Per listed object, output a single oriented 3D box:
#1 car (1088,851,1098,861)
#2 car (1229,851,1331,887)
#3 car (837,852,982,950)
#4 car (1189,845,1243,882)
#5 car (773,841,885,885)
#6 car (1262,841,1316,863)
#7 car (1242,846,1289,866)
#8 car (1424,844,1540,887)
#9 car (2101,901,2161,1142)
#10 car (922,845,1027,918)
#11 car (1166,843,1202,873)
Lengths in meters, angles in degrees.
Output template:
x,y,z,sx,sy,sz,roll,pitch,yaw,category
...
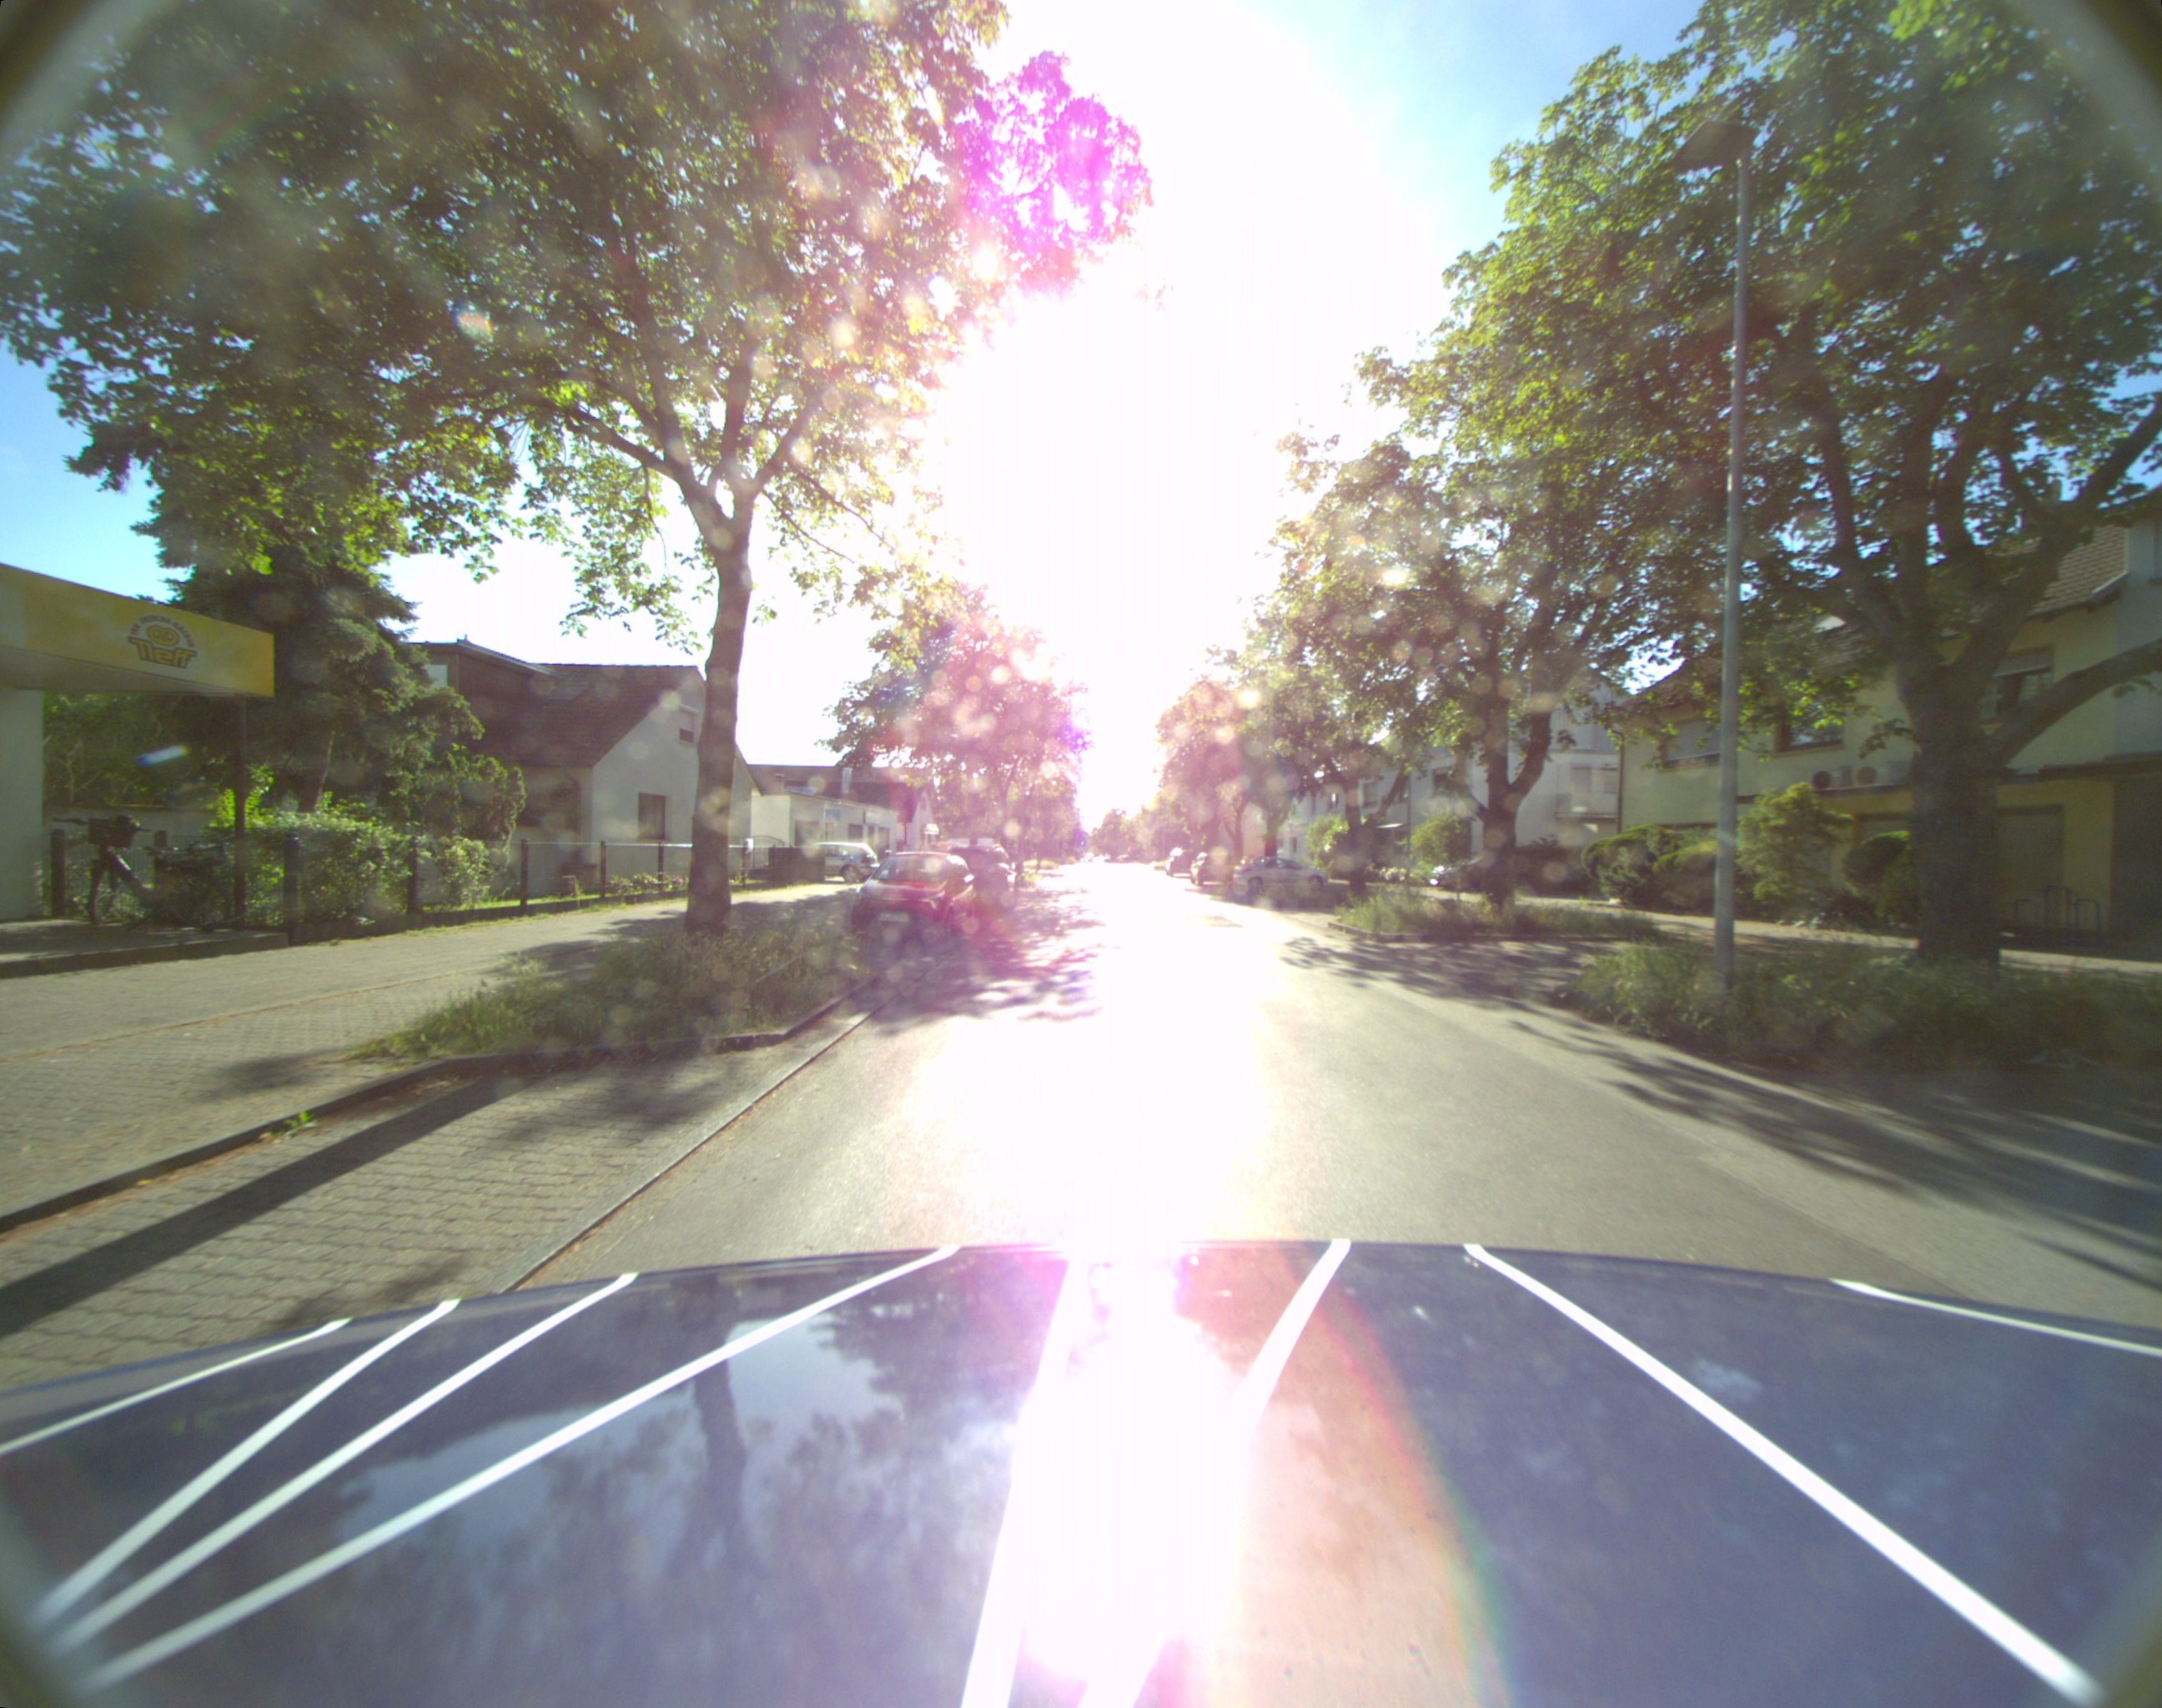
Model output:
x,y,z,sx,sy,sz,roll,pitch,yaw,category
1.994,0.307,125.458,1.539,1.583,3.458,-2,1,3,car
8.073,0.574,31.053,3.695,1.315,1.624,-1,2,-5,car
-2.976,0.741,13.972,1.690,1.414,3.776,2,2,1,car
6.323,0.409,35.902,1.998,1.530,3.694,-2,1,3,car
-9.477,0.315,28.772,3.621,1.431,1.695,-3,2,-2,car
17.717,-0.202,64.825,3.997,1.674,1.999,-3,2,0,car
17.633,0.176,72.772,3.997,1.674,1.999,-3,2,0,car
16.236,0.438,30.917,3.773,1.557,1.691,2,2,4,car
8.598,0.991,3.763,4.393,1.408,1.999,-1,2,0,car
-2.660,0.622,20.029,1.941,1.684,4.362,0,1,3,car
6.349,0.205,47.215,1.815,1.722,4.055,1,1,3,car
